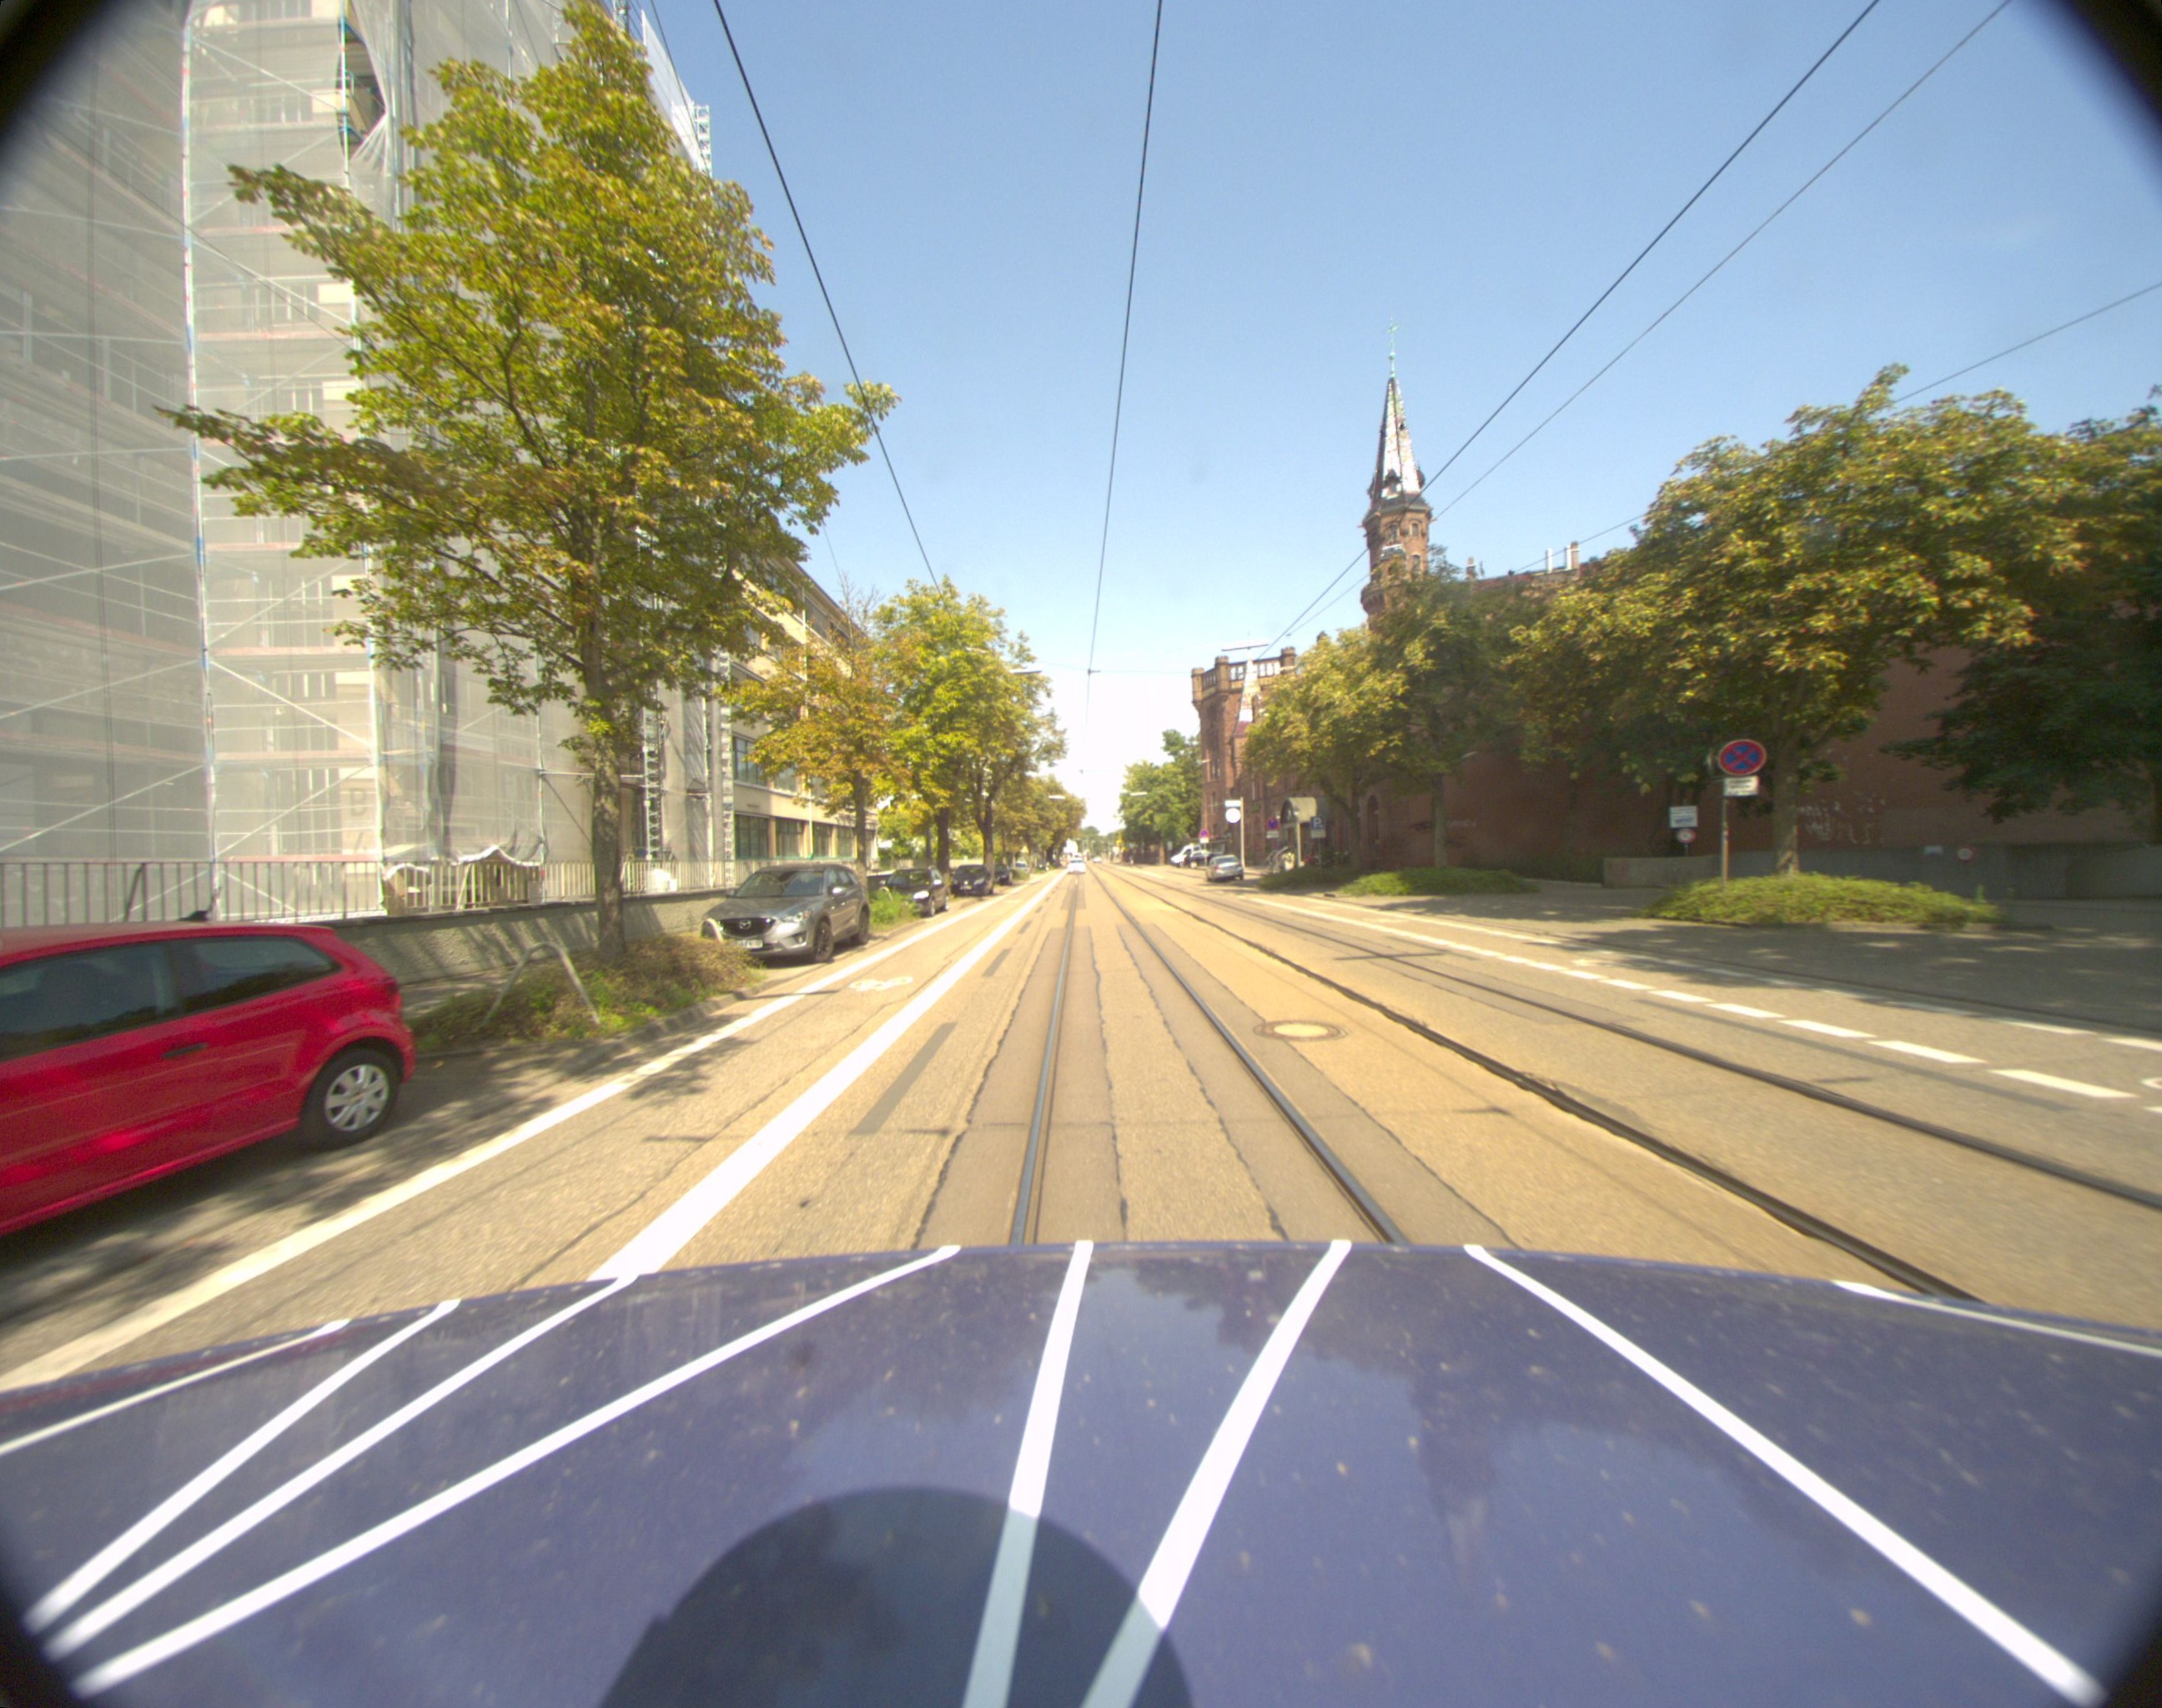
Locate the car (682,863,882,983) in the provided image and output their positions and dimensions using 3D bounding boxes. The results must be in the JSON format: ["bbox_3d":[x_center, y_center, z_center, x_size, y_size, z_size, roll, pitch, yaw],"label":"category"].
[{"bbox_3d":[-5.102,1.065,13.751,1.766,1.678,4.648,-2,0,-1],"label":"car"}]

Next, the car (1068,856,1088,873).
[{"bbox_3d":[-0.293,1.004,74.201,1.824,1.483,4.019,-2,0,0],"label":"car"}]

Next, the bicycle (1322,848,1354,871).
[{"bbox_3d":[13.409,0.283,39.652,1.449,1.056,0.377,-7,1,-10],"label":"bicycle"}]

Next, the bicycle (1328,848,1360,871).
[{"bbox_3d":[13.518,0.281,39.029,1.449,1.056,0.377,-7,1,-10],"label":"bicycle"}]

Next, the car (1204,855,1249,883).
[{"bbox_3d":[8.465,0.825,44.663,1.939,1.493,4.515,-2,0,3],"label":"car"}]

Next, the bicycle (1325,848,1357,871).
[{"bbox_3d":[13.468,0.282,39.325,1.449,1.056,0.377,-7,1,-10],"label":"bicycle"}]

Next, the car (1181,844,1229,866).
[{"bbox_3d":[12.464,0.081,76.392,4.407,1.787,2.000,-6,0,2],"label":"car"}]

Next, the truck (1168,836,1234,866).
[{"bbox_3d":[12.999,-0.320,82.584,6.510,2.510,2.317,-6,0,1],"label":"truck"}]

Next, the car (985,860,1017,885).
[{"bbox_3d":[-5.032,1.156,48.363,1.642,1.464,3.993,0,0,-1],"label":"car"}]

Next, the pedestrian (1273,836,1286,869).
[{"bbox_3d":[11.832,-0.089,45.251,0.504,1.969,0.520,-1,2,44],"label":"pedestrian"}]

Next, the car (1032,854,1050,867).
[{"bbox_3d":[-5.104,0.801,97.296,1.998,1.521,4.000,-2,0,1],"label":"car"}]

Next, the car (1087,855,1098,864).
[{"bbox_3d":[1.873,0.897,125.374,1.677,1.477,3.778,-1,1,0],"label":"car"}]

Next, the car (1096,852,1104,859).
[{"bbox_3d":[4.868,0.317,191.655,1.998,1.783,4.000,-2,0,1],"label":"car"}]

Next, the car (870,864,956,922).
[{"bbox_3d":[-5.187,1.144,23.947,1.689,1.561,4.000,-2,0,1],"label":"car"}]

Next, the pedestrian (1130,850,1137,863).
[{"bbox_3d":[7.234,0.336,104.752,0.736,1.837,0.828,-2,1,1],"label":"pedestrian"}]

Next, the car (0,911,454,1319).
[{"bbox_3d":[-5.328,1.201,3.326,1.689,1.492,4.131,-2,1,0],"label":"car"}]

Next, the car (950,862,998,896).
[{"bbox_3d":[-5.104,1.157,36.711,1.645,1.561,4.084,-1,0,1],"label":"car"}]

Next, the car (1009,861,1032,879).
[{"bbox_3d":[-5.346,1.420,67.419,1.642,1.464,3.878,-2,0,1],"label":"car"}]
